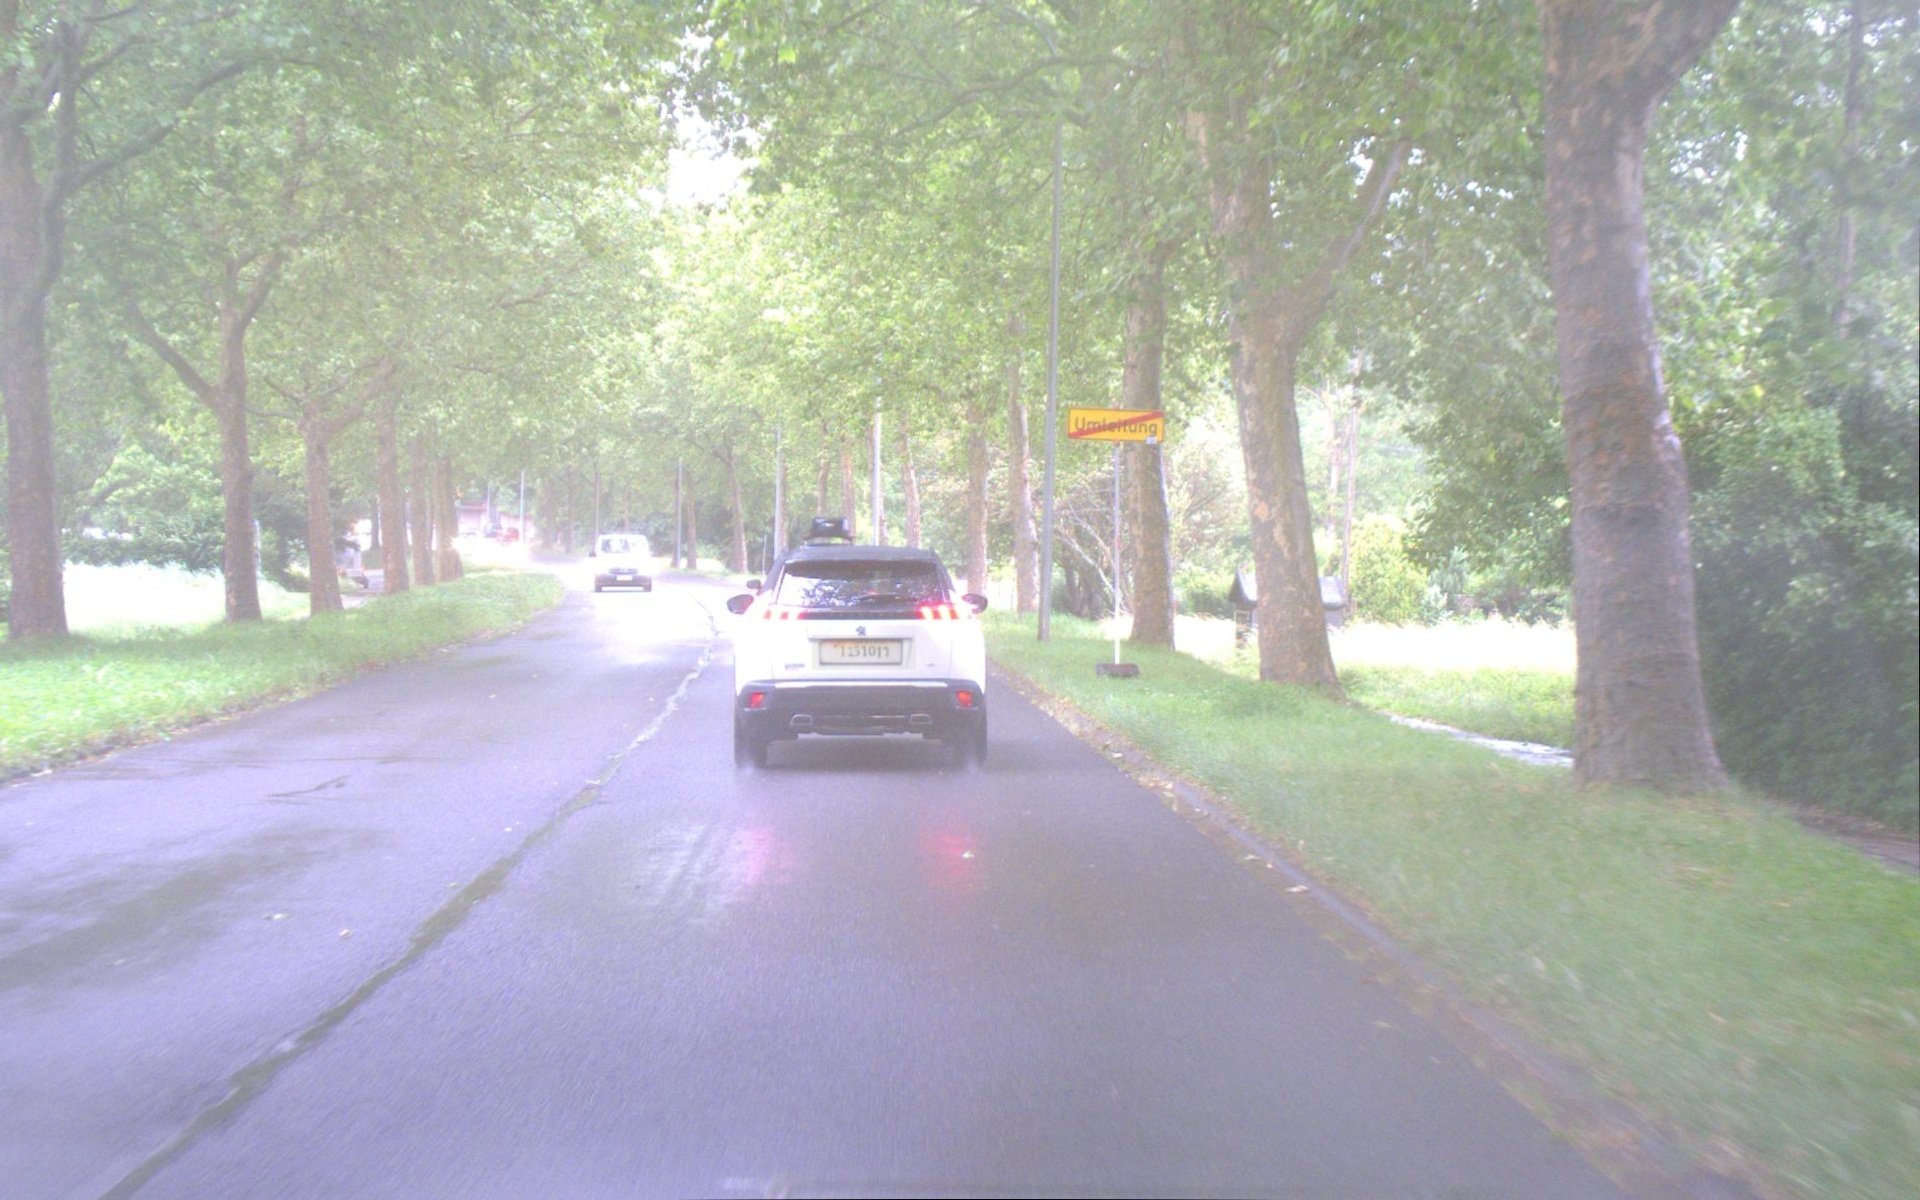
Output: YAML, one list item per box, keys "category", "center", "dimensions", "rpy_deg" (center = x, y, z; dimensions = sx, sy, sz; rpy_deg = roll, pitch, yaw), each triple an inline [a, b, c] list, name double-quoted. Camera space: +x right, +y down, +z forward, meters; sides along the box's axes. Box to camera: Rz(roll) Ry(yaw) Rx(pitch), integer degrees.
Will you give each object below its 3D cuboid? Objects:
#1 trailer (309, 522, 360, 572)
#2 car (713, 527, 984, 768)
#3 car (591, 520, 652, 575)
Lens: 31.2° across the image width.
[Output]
- category: "trailer"
  center: [-33.013, -2.789, 181.520]
  dimensions: [2.484, 2.558, 5.334]
  rpy_deg: [1, 1, -9]
- category: "car"
  center: [-0.760, 0.280, 25.120]
  dimensions: [1.794, 1.573, 3.844]
  rpy_deg: [1, 1, 0]
- category: "car"
  center: [-11.271, -1.760, 114.719]
  dimensions: [1.862, 1.744, 5.016]
  rpy_deg: [1, 1, -4]
